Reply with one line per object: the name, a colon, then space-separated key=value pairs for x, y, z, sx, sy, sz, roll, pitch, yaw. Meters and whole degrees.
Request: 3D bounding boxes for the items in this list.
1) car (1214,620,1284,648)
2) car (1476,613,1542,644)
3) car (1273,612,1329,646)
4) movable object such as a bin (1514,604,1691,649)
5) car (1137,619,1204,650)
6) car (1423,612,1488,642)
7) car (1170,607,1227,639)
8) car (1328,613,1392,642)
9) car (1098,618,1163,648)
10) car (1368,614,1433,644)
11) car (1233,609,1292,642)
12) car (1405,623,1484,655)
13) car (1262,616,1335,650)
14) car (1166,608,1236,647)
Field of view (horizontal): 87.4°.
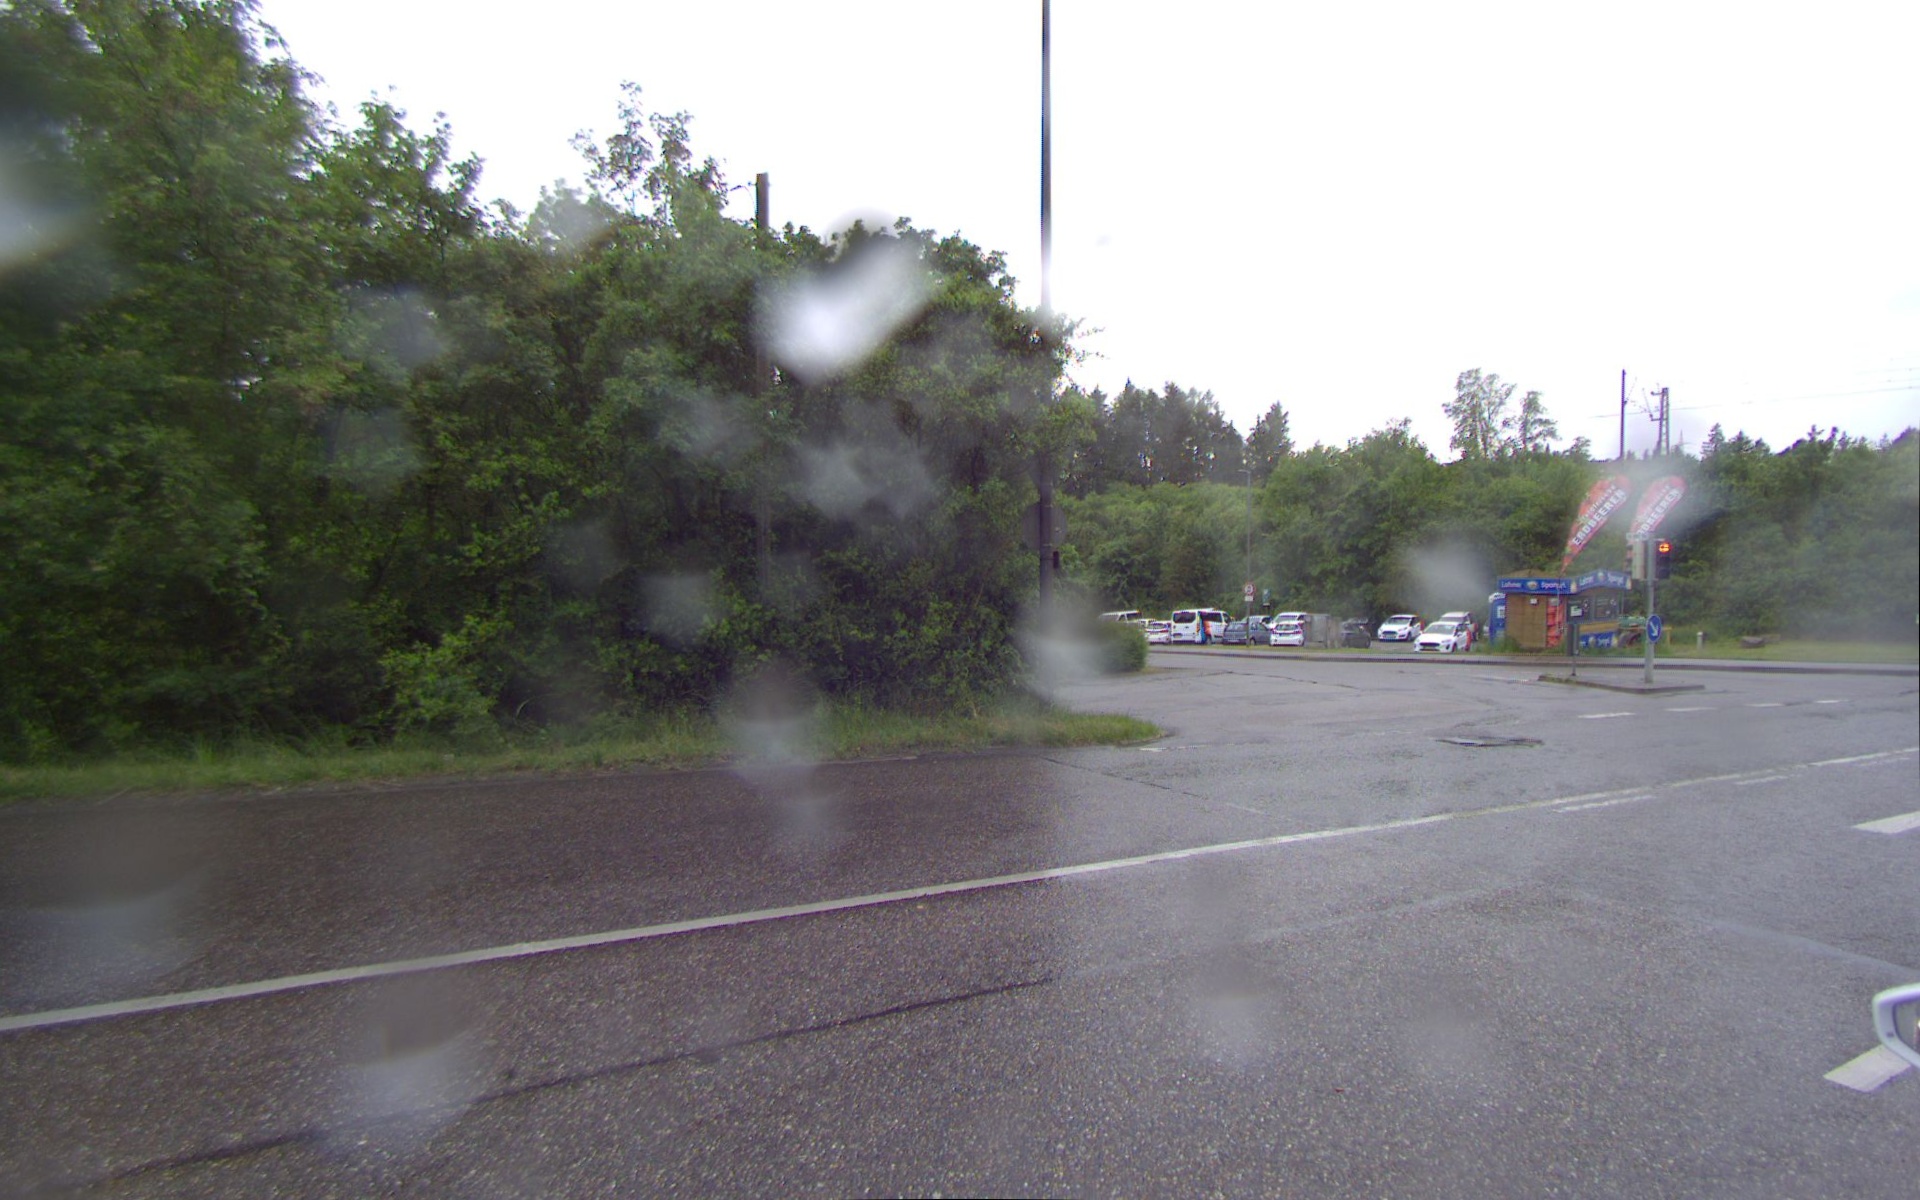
car: x=15.294 y=1.793 z=53.020 sx=3.972 sy=1.327 sz=1.734 roll=3 pitch=-1 yaw=-43
car: x=29.564 y=1.540 z=54.059 sx=3.972 sy=1.606 sz=1.975 roll=2 pitch=-2 yaw=-43
car: x=21.339 y=1.789 z=62.782 sx=1.916 sy=2.040 sz=3.846 roll=1 pitch=0 yaw=43
movable object such as a bin: x=27.132 y=1.124 z=42.648 sx=5.663 sy=1.649 sz=2.753 roll=2 pitch=-1 yaw=10
car: x=11.810 y=1.952 z=56.207 sx=1.834 sy=1.606 sz=3.978 roll=1 pitch=-1 yaw=42
car: x=27.271 y=1.471 z=55.244 sx=3.972 sy=1.606 sz=1.975 roll=2 pitch=-2 yaw=-43
car: x=16.163 y=1.558 z=67.966 sx=3.973 sy=2.040 sz=1.974 roll=2 pitch=-2 yaw=-44
car: x=23.616 y=1.640 z=59.235 sx=3.972 sy=1.606 sz=1.975 roll=3 pitch=-1 yaw=-43
car: x=9.896 y=1.928 z=58.105 sx=1.813 sy=1.606 sz=3.978 roll=1 pitch=-1 yaw=42
car: x=25.100 y=1.666 z=57.202 sx=3.972 sy=1.606 sz=1.975 roll=3 pitch=-1 yaw=-43
car: x=19.469 y=1.658 z=64.664 sx=3.973 sy=2.040 sz=1.974 roll=2 pitch=-2 yaw=-44
car: x=22.467 y=1.828 z=46.481 sx=4.868 sy=1.358 sz=1.636 roll=3 pitch=-1 yaw=-43
car: x=17.289 y=1.703 z=51.271 sx=3.880 sy=1.606 sz=1.918 roll=3 pitch=-1 yaw=-43
car: x=13.034 y=1.515 z=54.270 sx=1.971 sy=1.974 sz=3.978 roll=1 pitch=-1 yaw=42
